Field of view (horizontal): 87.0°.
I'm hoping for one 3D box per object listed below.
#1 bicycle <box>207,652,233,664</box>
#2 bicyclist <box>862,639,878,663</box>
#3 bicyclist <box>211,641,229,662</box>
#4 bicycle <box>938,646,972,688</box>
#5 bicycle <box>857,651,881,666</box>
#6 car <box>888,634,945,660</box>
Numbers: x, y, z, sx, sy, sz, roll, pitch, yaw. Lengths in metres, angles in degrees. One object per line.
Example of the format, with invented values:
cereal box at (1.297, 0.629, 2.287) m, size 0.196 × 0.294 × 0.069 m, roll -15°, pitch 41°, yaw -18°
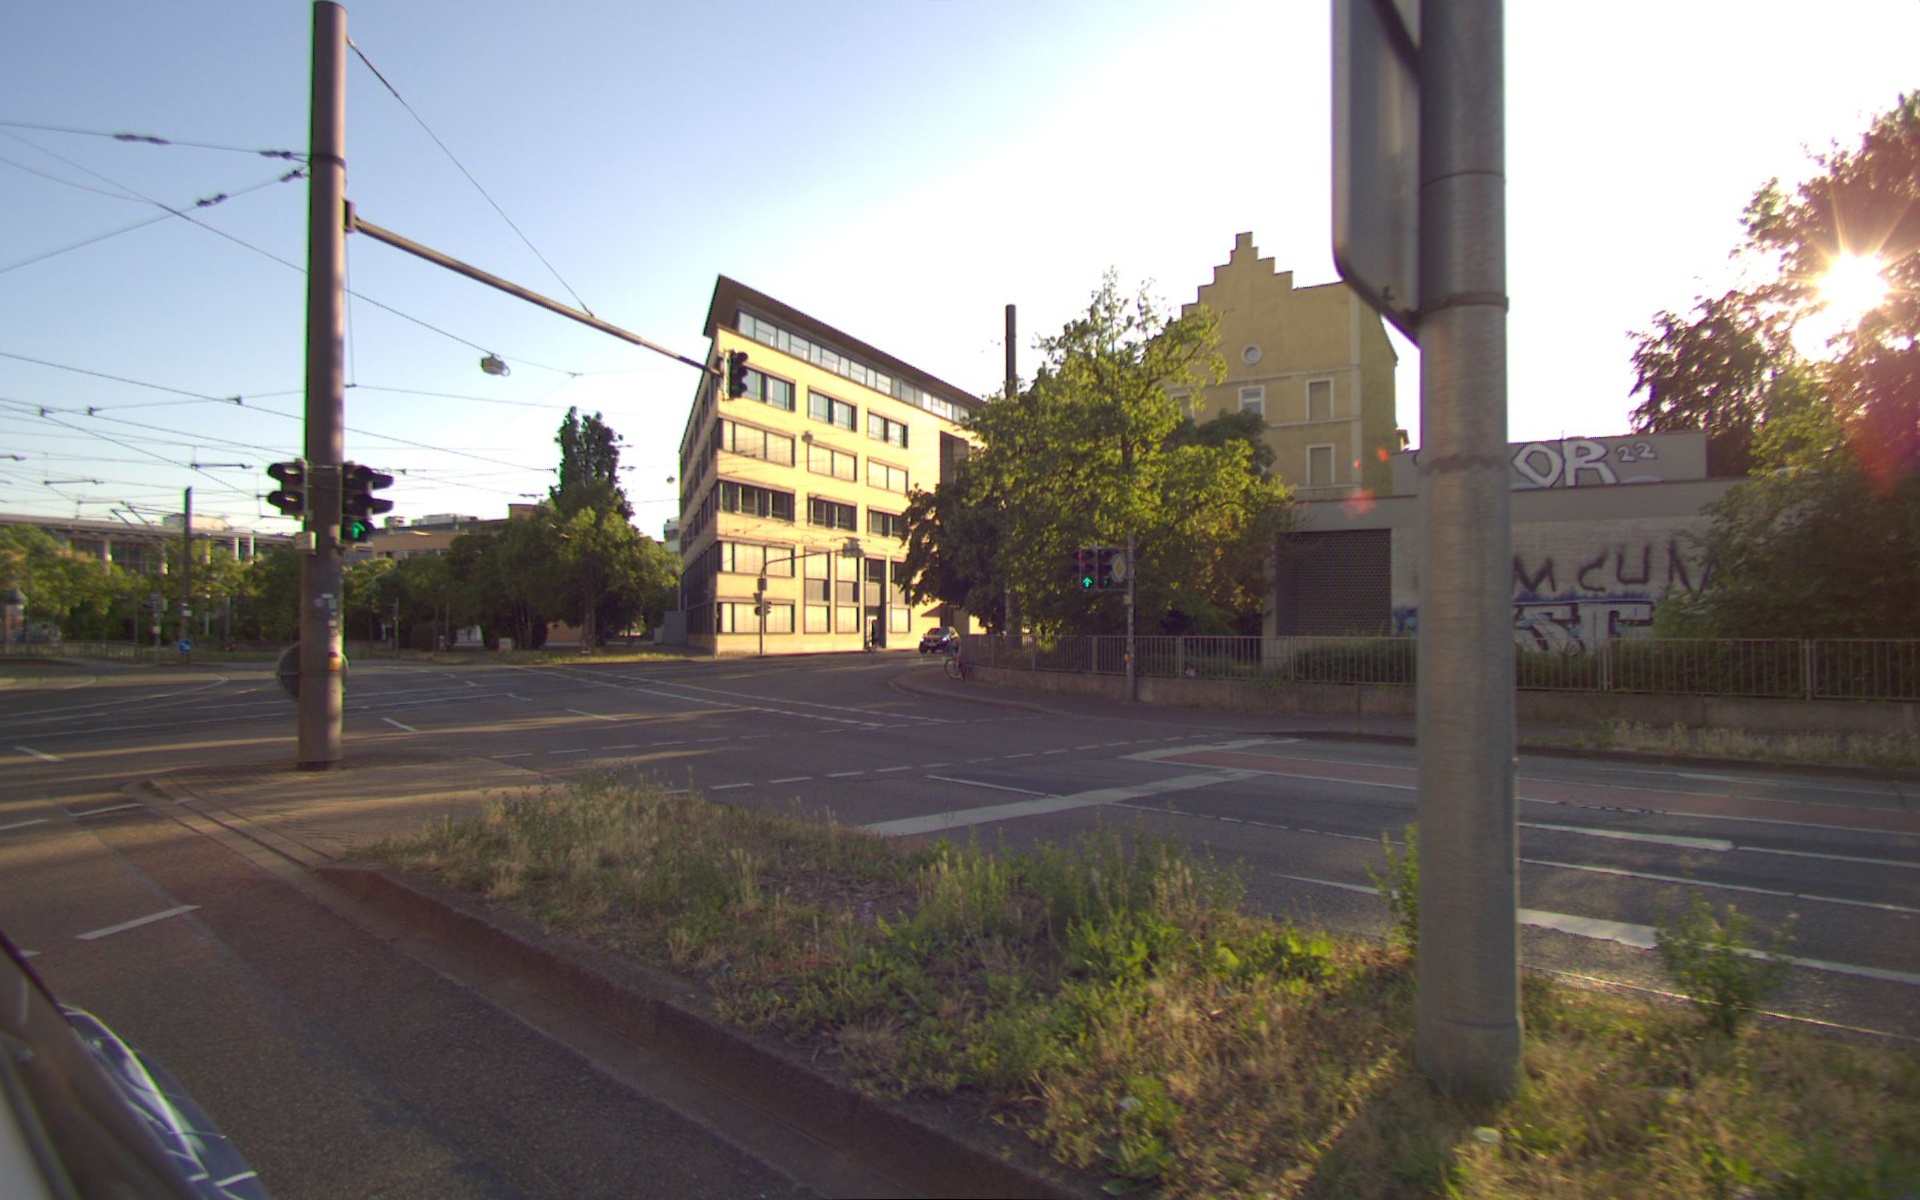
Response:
bicycle at (-53.244, 4.171, 72.787) m, size 1.958 × 0.827 × 0.769 m, roll -2°, pitch -2°, yaw 30°
bicyclist at (-5.447, 3.089, 61.116) m, size 0.664 × 1.464 × 0.737 m, roll -2°, pitch -3°, yaw 27°
bicyclist at (-53.173, 3.693, 72.756) m, size 0.824 × 1.479 × 0.762 m, roll -2°, pitch -2°, yaw 29°
bicycle at (-0.162, 1.881, 28.751) m, size 0.549 × 1.151 × 1.727 m, roll 0°, pitch -2°, yaw -15°
bicycle at (-5.468, 3.517, 61.058) m, size 0.655 × 0.839 × 1.676 m, roll -2°, pitch -3°, yaw 27°
car at (-2.625, 2.867, 62.123) m, size 1.987 × 1.497 × 3.968 m, roll -2°, pitch -2°, yaw 23°
